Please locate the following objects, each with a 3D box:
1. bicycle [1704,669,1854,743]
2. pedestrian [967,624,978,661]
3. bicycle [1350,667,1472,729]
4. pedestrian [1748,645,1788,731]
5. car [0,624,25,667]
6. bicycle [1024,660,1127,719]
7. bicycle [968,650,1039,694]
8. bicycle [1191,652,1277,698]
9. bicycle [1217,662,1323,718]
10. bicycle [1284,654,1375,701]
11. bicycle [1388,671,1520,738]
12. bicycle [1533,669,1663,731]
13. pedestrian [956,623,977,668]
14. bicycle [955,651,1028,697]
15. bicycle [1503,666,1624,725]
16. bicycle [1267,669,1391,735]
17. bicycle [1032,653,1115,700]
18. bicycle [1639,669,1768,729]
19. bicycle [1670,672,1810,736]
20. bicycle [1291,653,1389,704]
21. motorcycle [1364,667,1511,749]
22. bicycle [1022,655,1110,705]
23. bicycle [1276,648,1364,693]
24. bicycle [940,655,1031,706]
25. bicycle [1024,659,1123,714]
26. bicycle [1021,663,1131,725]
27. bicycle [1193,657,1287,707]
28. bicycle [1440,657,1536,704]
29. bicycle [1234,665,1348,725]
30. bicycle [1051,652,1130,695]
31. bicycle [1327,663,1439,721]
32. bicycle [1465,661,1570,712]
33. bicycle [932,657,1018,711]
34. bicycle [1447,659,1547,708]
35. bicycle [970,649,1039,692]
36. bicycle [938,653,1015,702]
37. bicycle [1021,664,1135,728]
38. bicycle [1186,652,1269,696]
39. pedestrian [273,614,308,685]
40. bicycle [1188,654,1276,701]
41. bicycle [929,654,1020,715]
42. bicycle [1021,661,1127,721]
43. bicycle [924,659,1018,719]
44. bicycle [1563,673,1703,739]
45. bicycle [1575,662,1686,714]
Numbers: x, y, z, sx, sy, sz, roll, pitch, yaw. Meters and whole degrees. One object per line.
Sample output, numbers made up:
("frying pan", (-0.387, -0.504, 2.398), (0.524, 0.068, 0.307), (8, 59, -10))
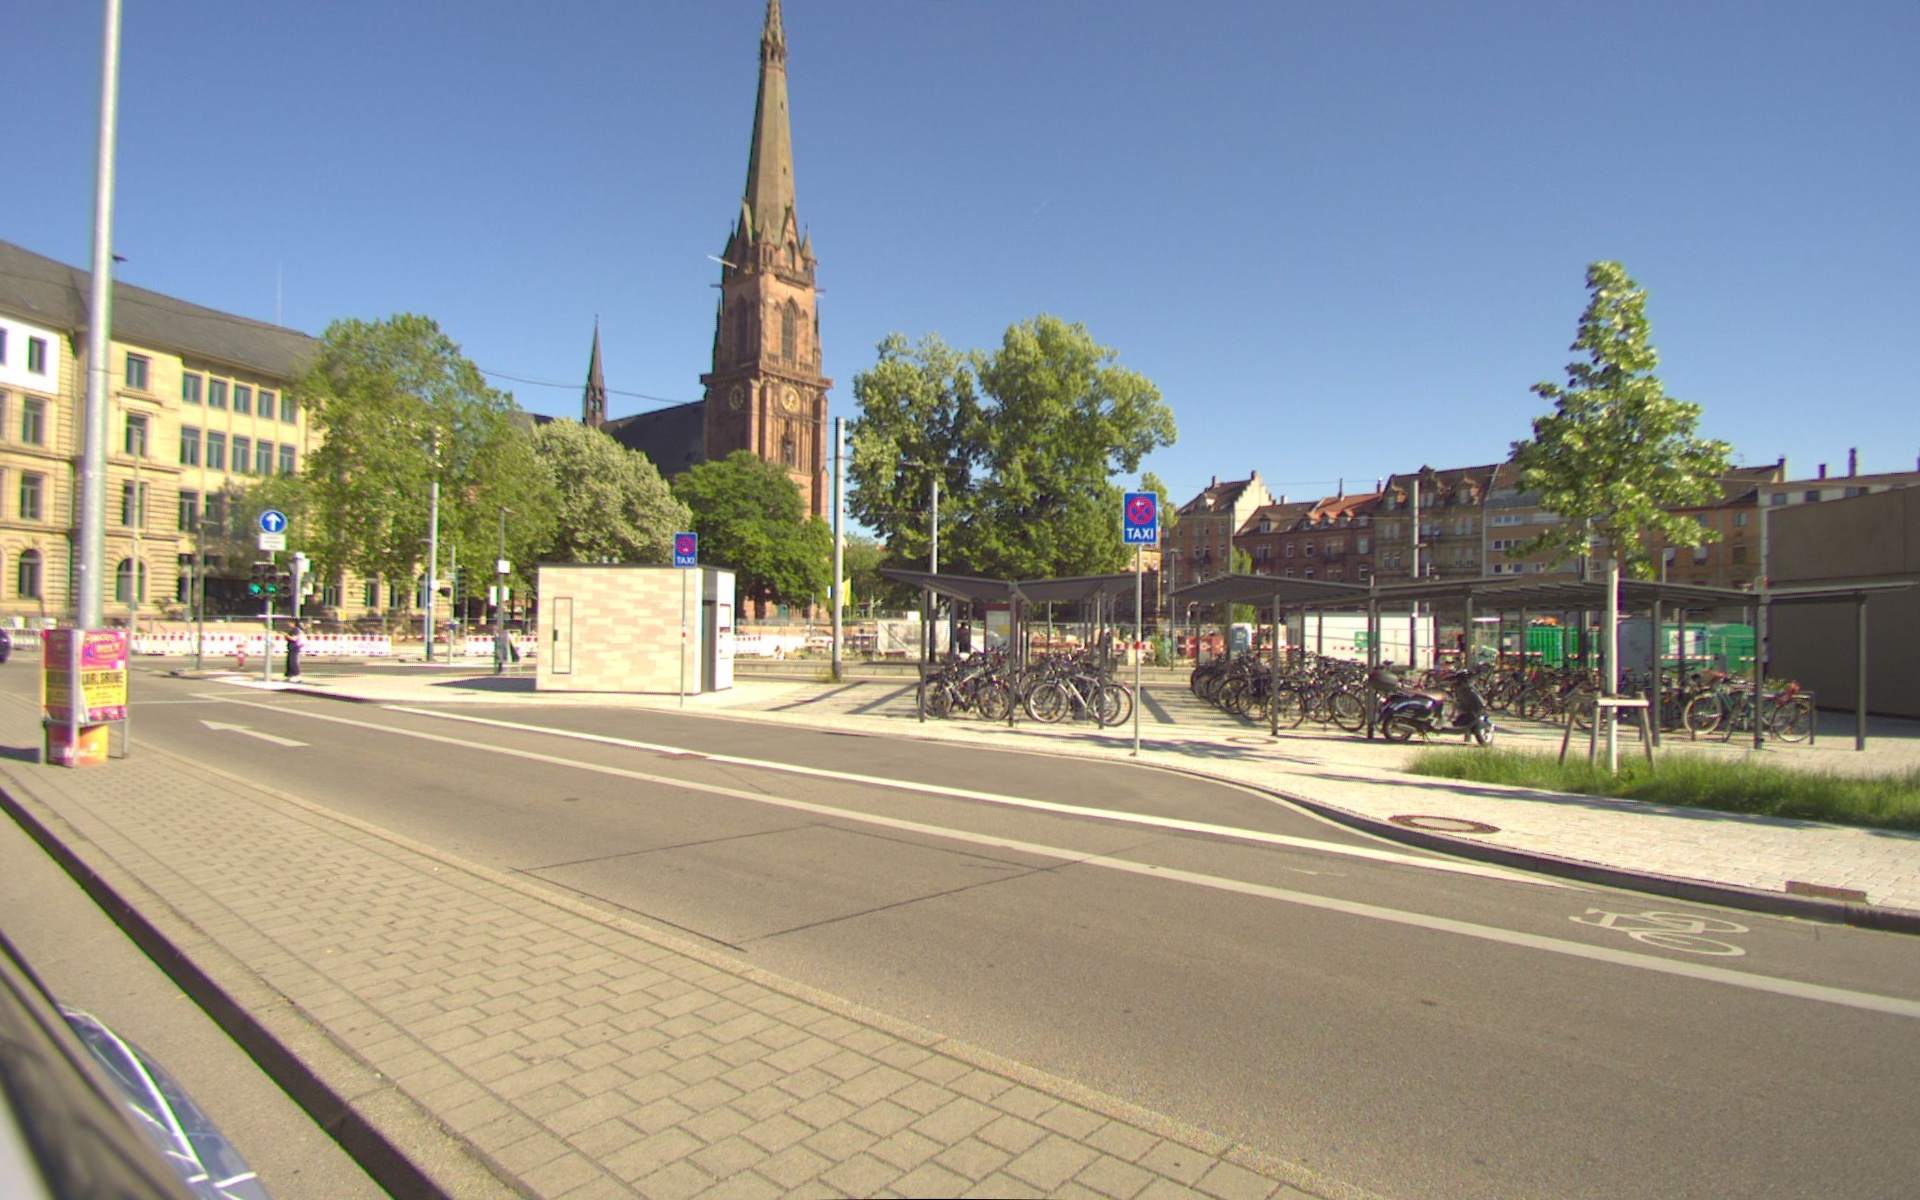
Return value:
("bicycle", (13.080, 1.686, 16.205), (1.882, 1.106, 0.456), (0, -2, 8))
("pedestrian", (0.585, 1.995, 47.615), (0.399, 1.734, 0.419), (1, -2, -11))
("bicycle", (7.893, 1.710, 17.762), (1.882, 1.016, 0.456), (0, -2, 8))
("pedestrian", (19.718, 2.128, 24.698), (0.718, 2.029, 0.678), (-1, -3, 41))
("car", (-35.608, 1.617, 36.717), (4.570, 1.511, 1.771), (-1, -3, 39))
("bicycle", (2.135, 1.647, 18.743), (1.882, 1.016, 0.456), (0, -2, 8))
("bicycle", (1.041, 1.716, 24.225), (1.652, 1.016, 0.456), (0, -2, 8))
("bicycle", (6.365, 1.733, 23.566), (1.882, 1.016, 0.456), (0, -2, 8))
("bicycle", (5.896, 1.710, 19.322), (1.882, 1.016, 0.456), (0, -2, 8))
("bicycle", (8.315, 1.737, 22.817), (1.882, 1.016, 0.456), (0, -2, 8))
("bicycle", (8.027, 1.693, 16.492), (1.882, 1.016, 0.456), (0, -2, 8))
("bicycle", (11.099, 1.734, 17.641), (1.882, 1.016, 0.456), (0, -2, 8))
("pedestrian", (0.274, 1.855, 41.216), (0.792, 1.793, 0.977), (0, -2, 3))
("bicycle", (0.745, 1.711, 23.481), (1.652, 1.016, 0.456), (0, -2, 8))
("bicycle", (11.163, 1.758, 18.756), (1.882, 1.016, 0.456), (0, -2, 8))
("bicycle", (6.120, 1.683, 16.839), (1.882, 1.016, 0.456), (0, -2, 8))
("bicycle", (2.605, 1.749, 23.303), (1.882, 1.016, 0.456), (0, -2, 8))
("bicycle", (13.468, 1.778, 18.363), (1.882, 1.016, 0.456), (0, -2, 8))
("bicycle", (13.127, 1.745, 17.064), (1.882, 1.016, 0.456), (0, -2, 8))
("bicycle", (8.056, 1.662, 21.518), (1.882, 1.016, 0.456), (0, -2, 8))
("motorcycle", (7.160, 1.604, 15.224), (1.924, 1.160, 0.516), (0, -2, 6))
("bicycle", (2.296, 1.723, 21.920), (1.882, 1.016, 0.456), (0, -2, 8))
("bicycle", (8.485, 1.654, 23.909), (1.882, 1.016, 0.456), (0, -2, 8))
("bicycle", (0.542, 1.676, 21.225), (1.882, 1.016, 0.456), (0, -2, 8))
("bicycle", (2.195, 1.660, 19.584), (1.882, 1.016, 0.456), (0, -2, 8))
("bicycle", (2.018, 1.625, 17.673), (1.882, 1.016, 0.456), (0, -2, 8))
("bicycle", (5.964, 1.748, 21.608), (1.882, 1.016, 0.456), (0, -2, 8))
("bicycle", (12.078, 1.838, 23.193), (1.882, 1.016, 0.456), (0, -2, 8))
("bicycle", (5.898, 1.685, 18.091), (1.882, 1.016, 0.456), (0, -2, 8))
("bicycle", (3.161, 1.778, 24.598), (1.882, 1.016, 0.456), (0, -2, 8))
("bicycle", (7.917, 1.714, 18.995), (1.882, 1.016, 0.456), (0, -2, 8))
("bicycle", (11.713, 1.816, 21.312), (1.882, 1.016, 0.456), (0, -2, 8))
("bicycle", (0.304, 1.642, 19.887), (1.652, 1.016, 0.456), (0, -2, 8))
("bicycle", (11.783, 1.826, 22.242), (1.882, 1.016, 0.456), (0, -2, 8))
("bicycle", (1.106, 1.731, 24.941), (1.652, 1.016, 0.456), (0, -2, 8))
("bicycle", (0.370, 1.692, 22.223), (1.652, 1.016, 0.456), (0, -2, 8))
("bicycle", (1.988, 1.604, 17.113), (1.882, 1.016, 0.456), (0, -2, 8))
("bicycle", (6.392, 1.764, 24.224), (1.882, 1.016, 0.456), (0, -2, 8))
("pedestrian", (-17.974, 1.311, 27.159), (0.683, 1.868, 0.680), (2, -2, -38))
("bicycle", (6.148, 1.739, 22.942), (1.882, 1.016, 0.456), (0, -2, 8))
("bicycle", (0.279, 1.560, 18.776), (1.652, 1.069, 0.456), (0, -2, 8))
("bicycle", (2.053, 1.634, 18.260), (1.882, 1.016, 0.456), (0, -2, 8))
("bicycle", (0.200, 1.587, 18.190), (1.652, 1.016, 0.456), (0, -2, 8))
("bicycle", (10.971, 1.719, 16.536), (1.882, 1.016, 0.456), (0, -2, 8))
("bicycle", (13.872, 1.820, 20.970), (1.882, 1.016, 0.456), (0, -2, 8))
